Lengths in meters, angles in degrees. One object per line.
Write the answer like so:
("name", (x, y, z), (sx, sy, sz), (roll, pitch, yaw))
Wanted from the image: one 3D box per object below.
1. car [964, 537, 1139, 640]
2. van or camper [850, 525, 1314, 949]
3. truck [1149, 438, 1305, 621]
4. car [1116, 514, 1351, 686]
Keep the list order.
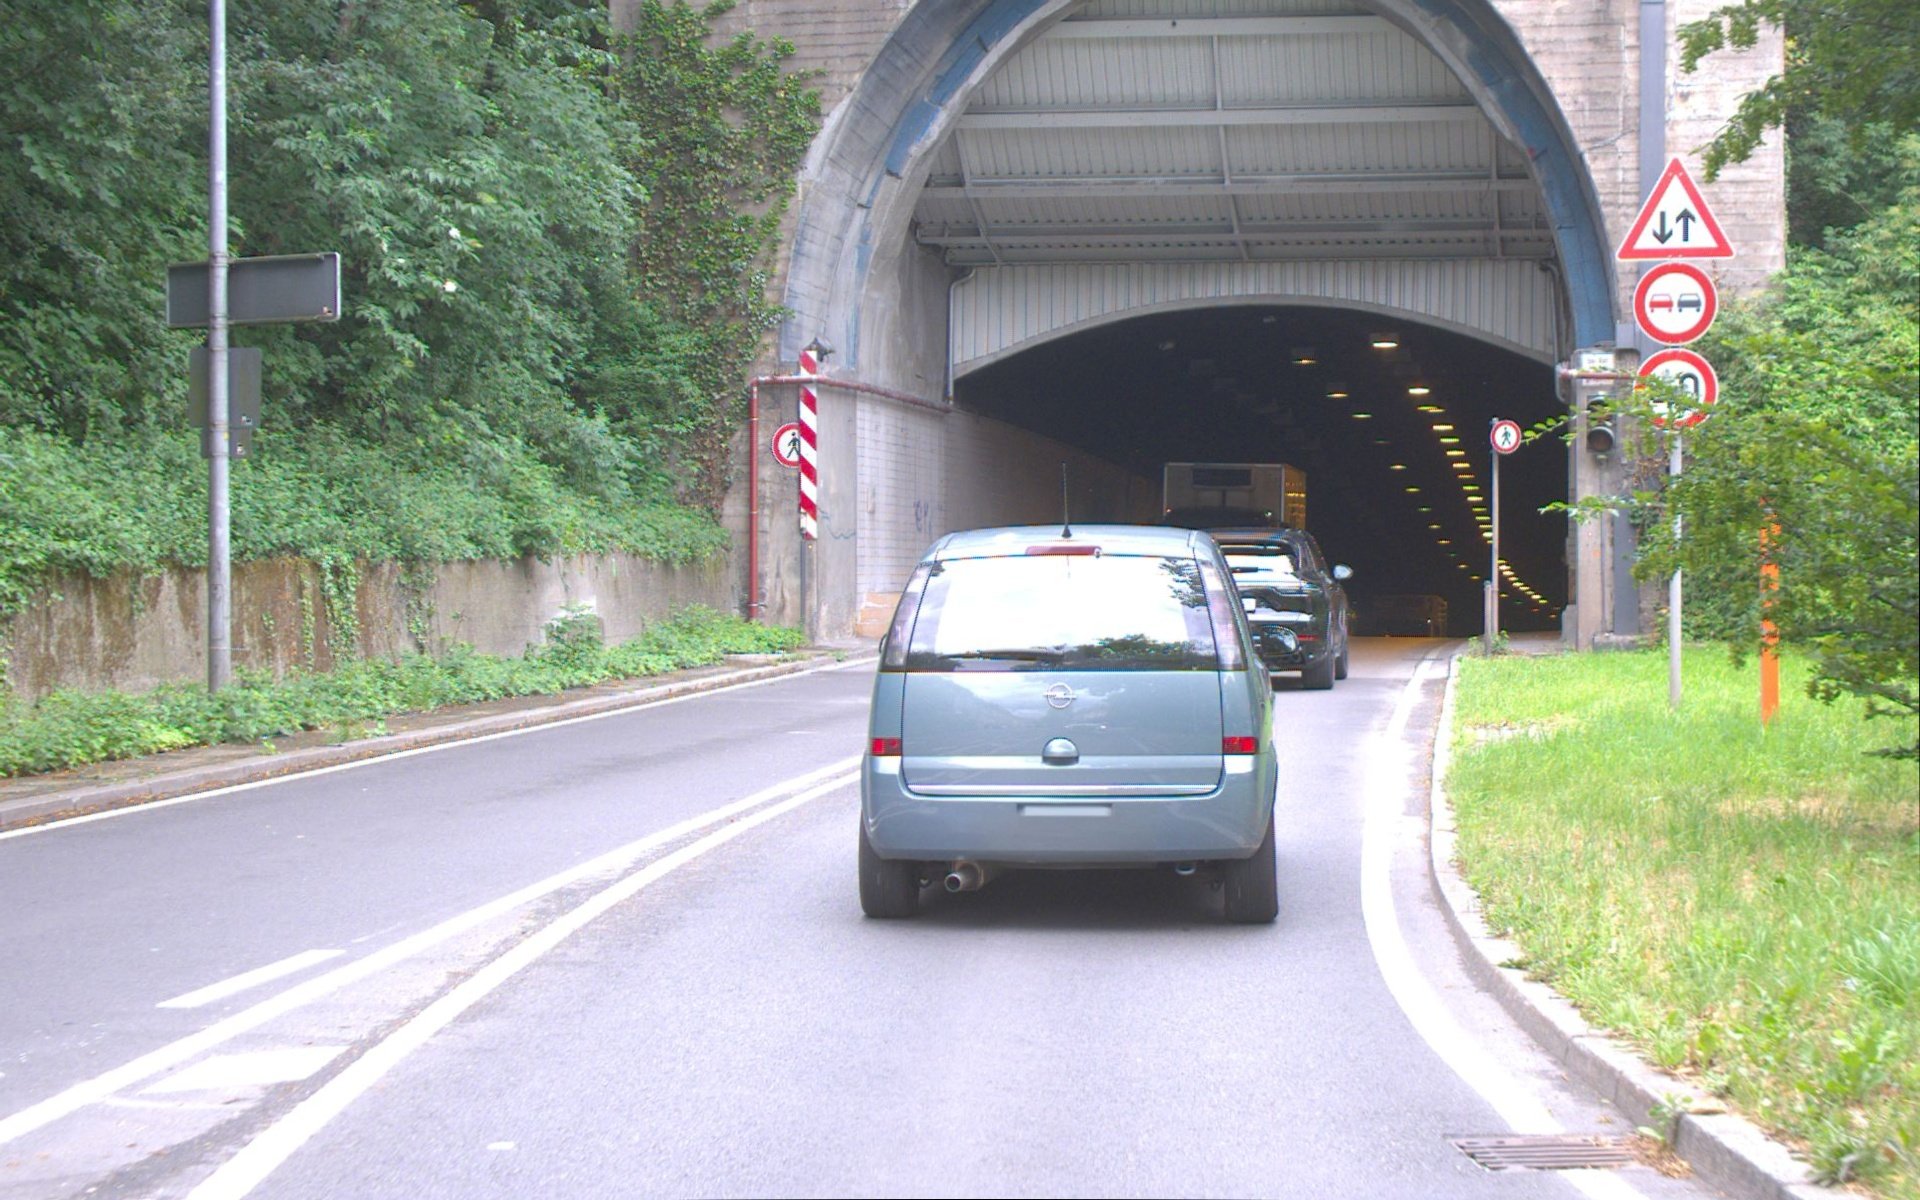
("car", (1.370, -0.192, 49.539), (1.869, 1.366, 4.454), (-1, 1, 10))
("van or camper", (0.430, 0.484, 14.905), (1.735, 1.572, 3.646), (1, 1, -1))
("truck", (5.752, -1.466, 73.066), (2.676, 3.654, 7.515), (1, 1, 9))
("car", (2.956, -0.041, 36.434), (1.994, 1.647, 3.998), (-1, 2, 11))
